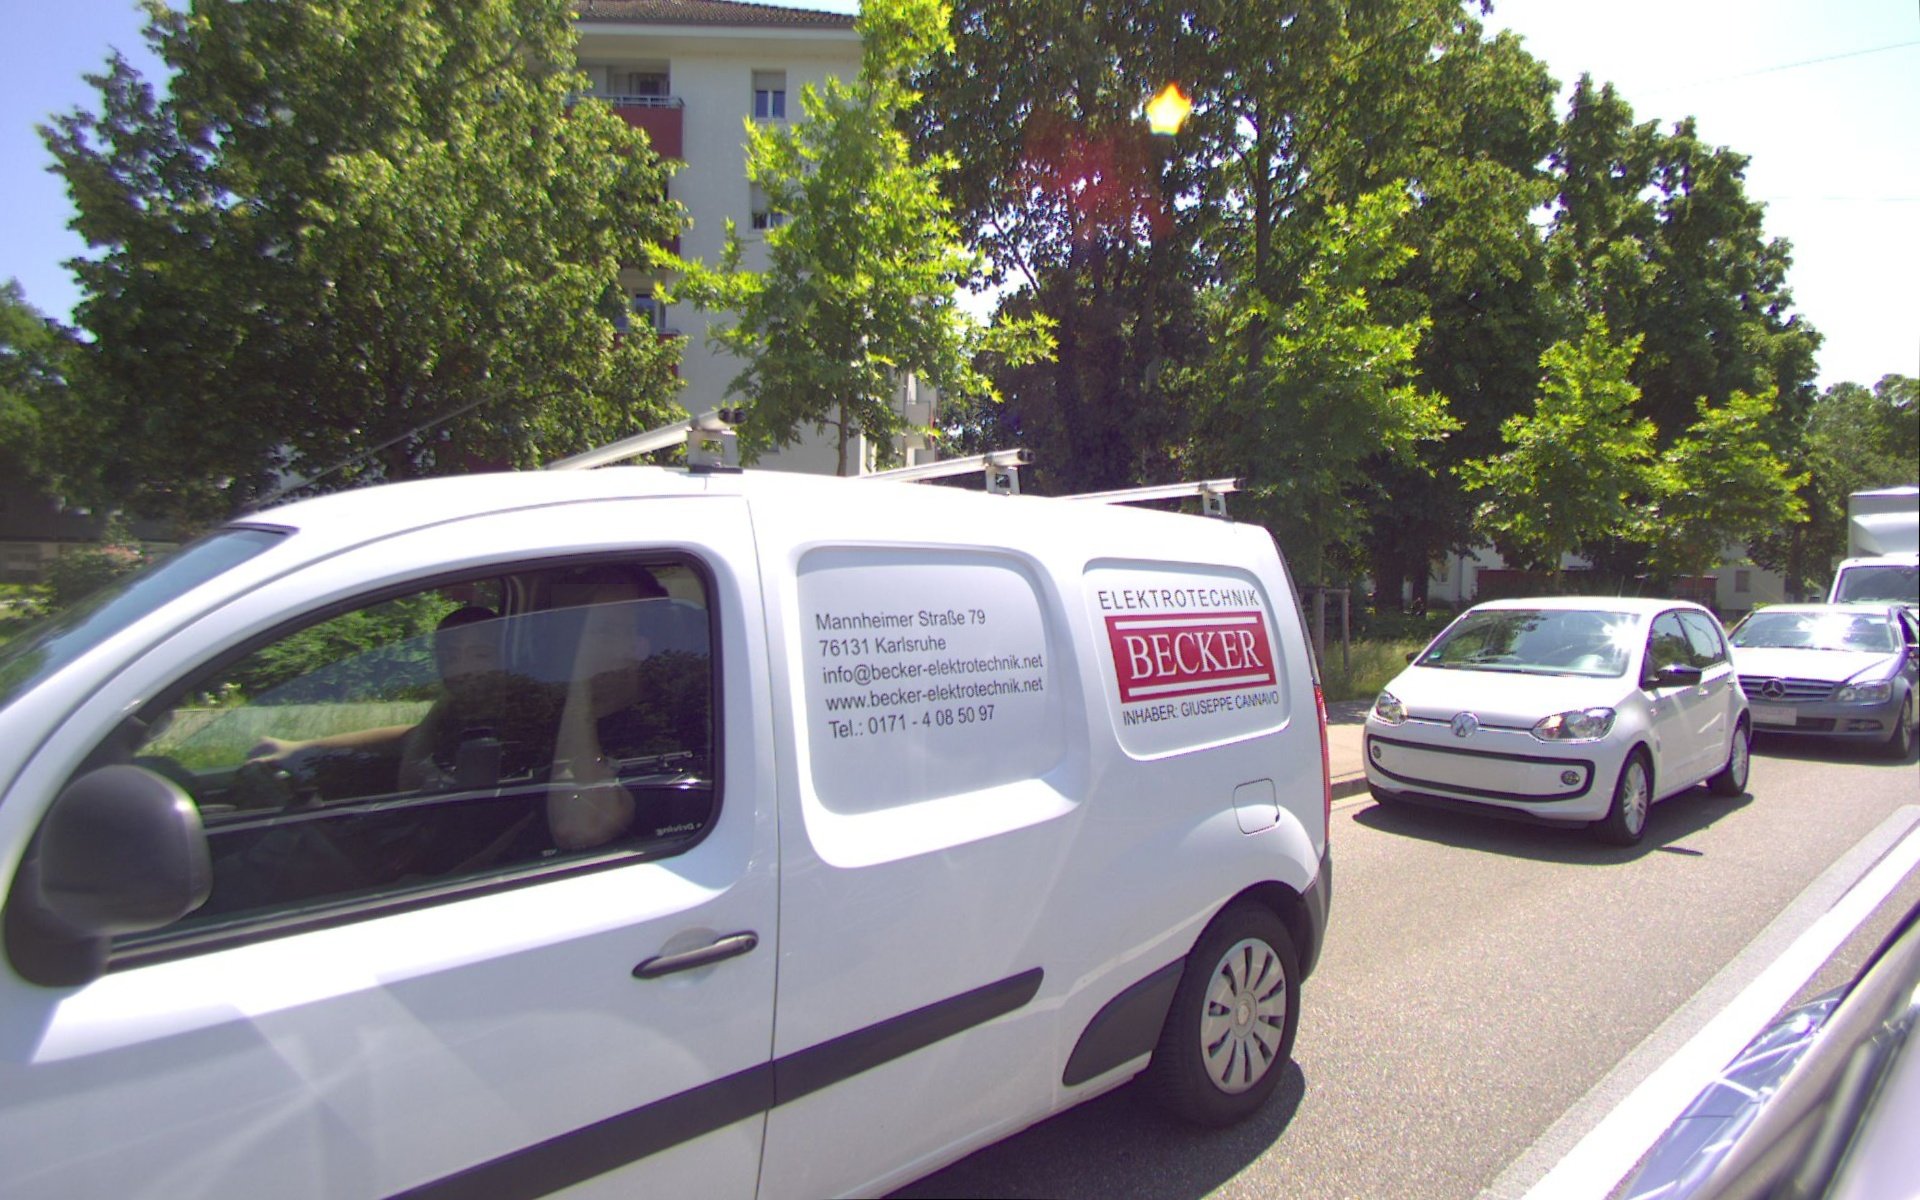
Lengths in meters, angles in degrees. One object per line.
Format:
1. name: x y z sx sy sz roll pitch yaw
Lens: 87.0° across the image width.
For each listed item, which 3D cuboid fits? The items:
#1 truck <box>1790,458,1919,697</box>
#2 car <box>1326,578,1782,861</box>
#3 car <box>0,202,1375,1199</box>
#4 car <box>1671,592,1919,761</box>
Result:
1. truck: 16.516 -0.339 16.971 7.778 3.387 2.434 0 1 -39
2. car: 4.400 0.621 7.286 3.705 1.497 1.729 0 1 -41
3. car: -0.993 0.454 2.533 4.370 1.849 1.997 0 1 -41
4. car: 9.233 0.653 10.737 4.016 1.426 1.839 0 1 -41
